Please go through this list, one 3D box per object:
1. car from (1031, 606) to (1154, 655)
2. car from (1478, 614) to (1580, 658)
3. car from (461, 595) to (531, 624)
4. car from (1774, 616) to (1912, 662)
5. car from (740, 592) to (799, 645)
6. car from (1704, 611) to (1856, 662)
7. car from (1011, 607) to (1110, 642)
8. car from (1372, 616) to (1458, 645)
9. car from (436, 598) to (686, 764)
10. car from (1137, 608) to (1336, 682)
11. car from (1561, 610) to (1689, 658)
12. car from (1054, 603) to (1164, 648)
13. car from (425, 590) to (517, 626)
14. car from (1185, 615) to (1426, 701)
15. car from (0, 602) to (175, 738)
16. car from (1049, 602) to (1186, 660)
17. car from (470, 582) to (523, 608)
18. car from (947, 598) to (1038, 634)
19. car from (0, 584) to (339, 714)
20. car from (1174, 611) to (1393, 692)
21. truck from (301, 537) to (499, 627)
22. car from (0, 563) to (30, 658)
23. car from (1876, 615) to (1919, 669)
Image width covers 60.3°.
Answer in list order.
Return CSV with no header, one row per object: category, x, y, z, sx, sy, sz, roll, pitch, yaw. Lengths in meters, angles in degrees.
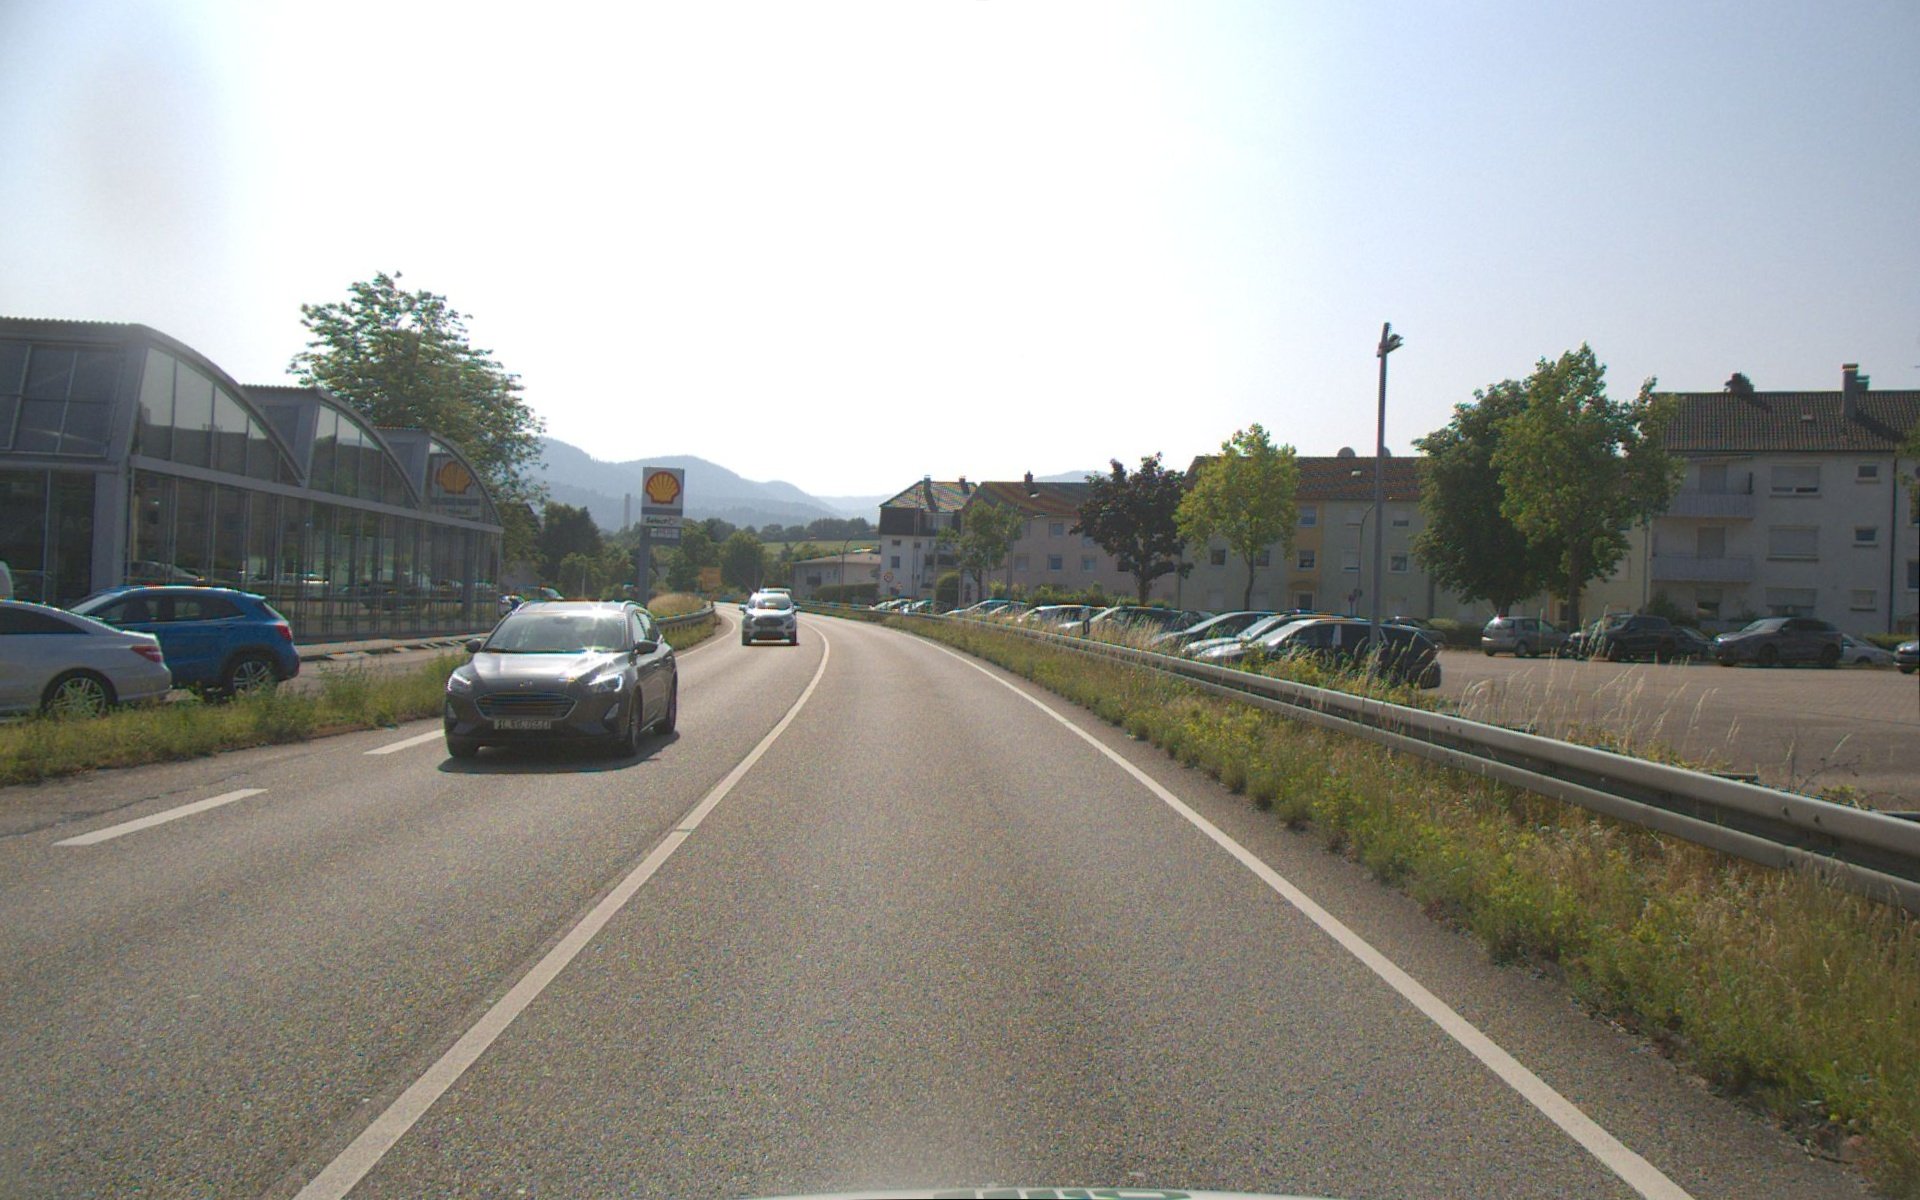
car,4.543,1.043,56.888,3.913,1.608,1.774,1,-1,-9
car,21.265,1.347,61.791,3.716,1.548,1.640,1,0,-31
car,-26.908,0.548,96.031,3.678,1.526,1.928,2,-1,-10
car,30.820,1.348,57.814,1.761,1.500,3.951,1,-1,-28
car,-6.180,0.564,53.945,1.757,1.658,4.223,0,0,-5
car,26.586,1.184,53.609,4.554,1.548,1.852,1,-1,-21
car,4.540,1.104,74.897,4.238,1.469,1.626,1,-1,-7
car,19.904,1.318,72.474,1.571,1.207,3.627,1,-1,-29
car,-3.980,0.735,17.182,1.716,1.500,4.285,0,0,-2
car,6.078,0.974,36.671,4.077,1.572,1.739,0,-1,-4
car,23.620,1.215,58.716,4.432,1.628,1.824,1,-1,-29
car,5.497,0.942,61.300,3.771,1.595,1.805,1,-1,-5
car,-24.994,0.404,84.684,4.273,1.684,1.927,2,-1,-12
car,6.381,1.054,30.810,4.077,1.517,1.730,0,-1,-4
car,-10.963,0.721,17.645,4.357,1.391,1.825,1,0,-42
car,4.795,0.938,50.775,3.909,1.669,1.886,1,-1,-5
car,-38.494,-0.404,137.277,4.818,2.049,1.988,1,0,42
car,1.552,0.781,80.220,4.234,1.669,2.138,1,-1,-5
car,-10.620,0.597,21.749,4.196,1.533,1.955,1,0,-42
car,6.532,1.025,33.681,4.077,1.583,1.770,0,-1,-4
truck,-24.496,-0.737,72.825,2.749,3.619,8.184,2,0,34
car,-18.605,0.193,29.324,1.768,1.743,4.407,2,1,-1
car,29.595,1.267,48.804,4.677,1.548,1.985,1,-1,-21
